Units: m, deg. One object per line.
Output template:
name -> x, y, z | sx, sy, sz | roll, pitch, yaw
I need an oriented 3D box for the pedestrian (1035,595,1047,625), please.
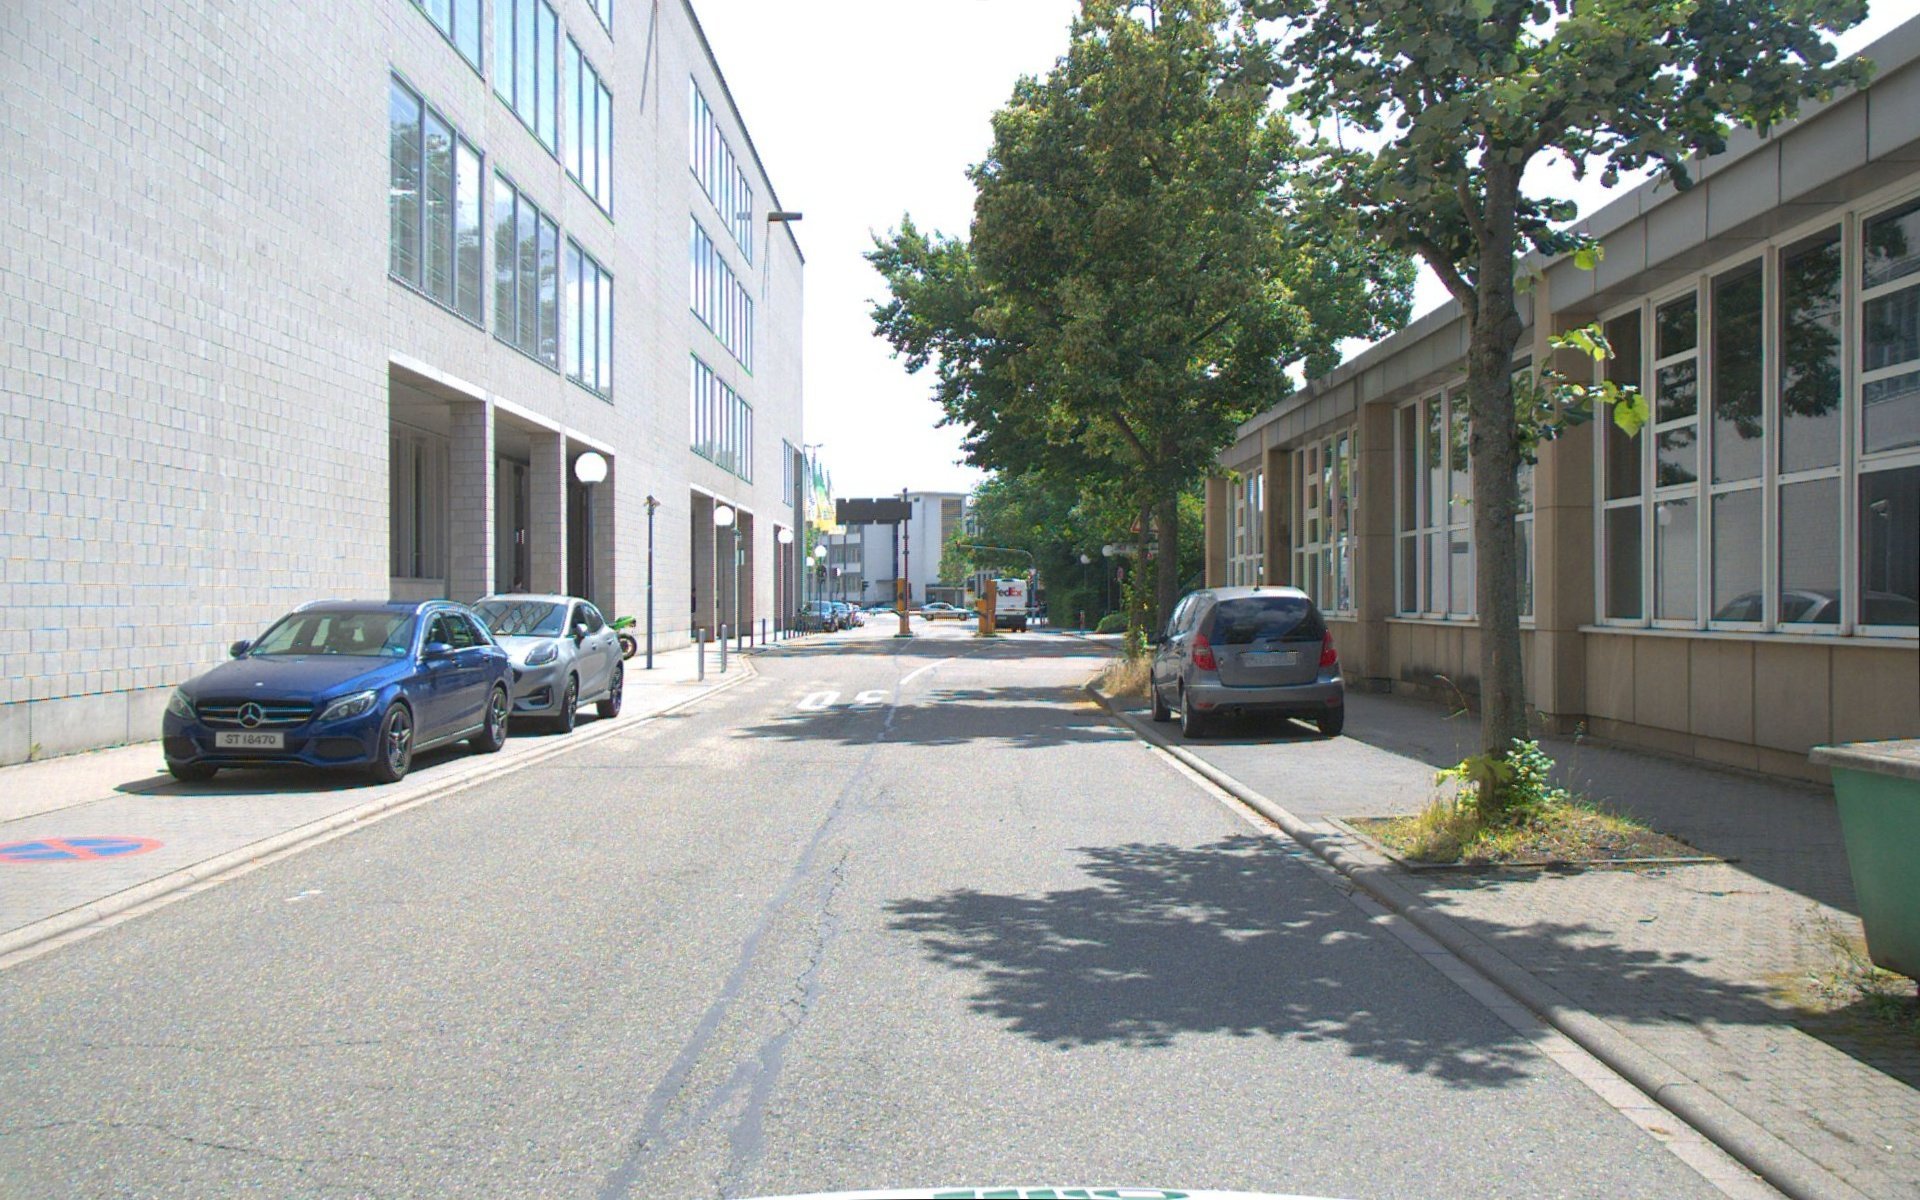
pedestrian -> 4.808, 0.584, 97.993 | 0.646, 1.759, 0.635 | 0, 0, -1

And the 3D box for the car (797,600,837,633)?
car -> -6.881, 0.807, 79.899 | 1.612, 1.524, 3.728 | -1, -2, 0

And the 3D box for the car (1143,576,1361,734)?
car -> 3.272, 0.570, 19.288 | 1.820, 1.601, 4.000 | -1, 0, 0

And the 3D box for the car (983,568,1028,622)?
car -> 2.224, -0.269, 82.090 | 2.041, 2.584, 4.315 | 1, 0, 0

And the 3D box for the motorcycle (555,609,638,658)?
motorcycle -> -8.468, 0.773, 38.531 | 1.825, 1.124, 0.656 | 0, 0, -21

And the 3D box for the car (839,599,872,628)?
car -> -5.787, 0.774, 91.780 | 1.612, 1.524, 3.728 | -1, -2, 0

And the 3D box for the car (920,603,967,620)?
car -> -1.308, 0.918, 132.415 | 3.652, 1.353, 1.667 | 0, 0, 2

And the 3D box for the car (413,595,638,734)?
car -> -5.118, 0.708, 20.035 | 1.597, 1.511, 4.178 | 0, 0, 0

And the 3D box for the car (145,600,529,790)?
car -> -5.313, 0.736, 14.765 | 1.730, 1.452, 4.235 | 0, 0, 1
